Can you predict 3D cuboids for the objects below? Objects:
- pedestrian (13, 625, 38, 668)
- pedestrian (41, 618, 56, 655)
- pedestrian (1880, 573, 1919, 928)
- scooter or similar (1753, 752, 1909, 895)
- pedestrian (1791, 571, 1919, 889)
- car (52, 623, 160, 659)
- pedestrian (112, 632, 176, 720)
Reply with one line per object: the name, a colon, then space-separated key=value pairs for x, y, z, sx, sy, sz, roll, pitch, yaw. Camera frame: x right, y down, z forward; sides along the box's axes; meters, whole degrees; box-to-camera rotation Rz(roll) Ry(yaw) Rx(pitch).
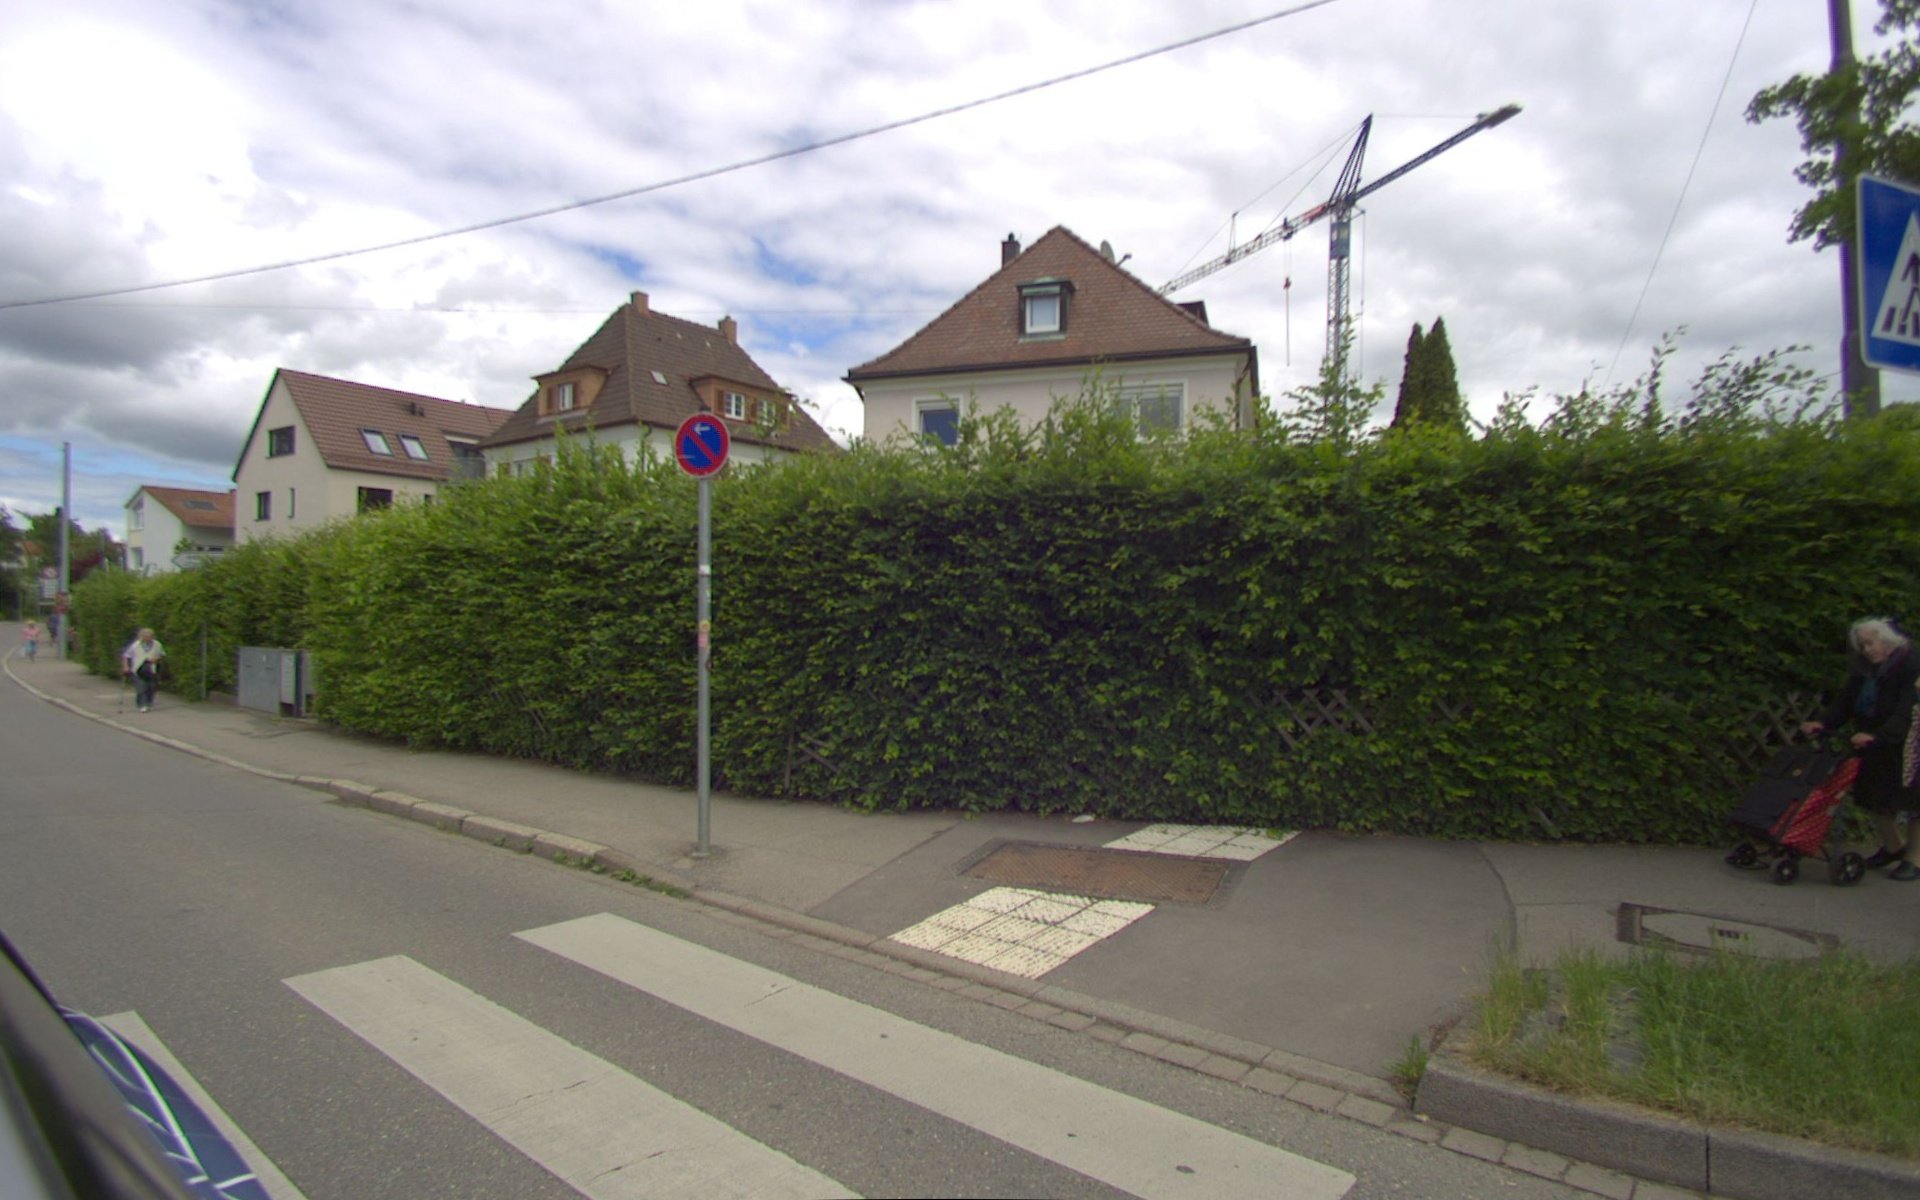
pedestrian: x=-36.130 y=1.787 z=39.117 sx=0.608 sy=1.611 sz=0.611 roll=-1 pitch=-2 yaw=40
pedestrian: x=-48.343 y=1.946 z=53.703 sx=0.528 sy=1.967 sz=0.528 roll=1 pitch=-2 yaw=-39
pedestrian: x=4.743 y=0.685 z=4.533 sx=0.588 sy=1.632 sz=0.680 roll=-2 pitch=0 yaw=-18
scooter or similar: x=4.634 y=1.172 z=5.400 sx=0.393 sy=0.614 sz=0.490 roll=-2 pitch=1 yaw=-18
pedestrian: x=5.123 y=0.663 z=5.505 sx=0.588 sy=1.632 sz=0.680 roll=-2 pitch=0 yaw=-18
car: x=-42.722 y=2.003 z=50.656 sx=1.885 sy=1.741 sz=3.943 roll=-1 pitch=-2 yaw=43
pedestrian: x=-14.895 y=1.367 z=18.480 sx=0.542 sy=1.542 sz=0.742 roll=-1 pitch=0 yaw=28
